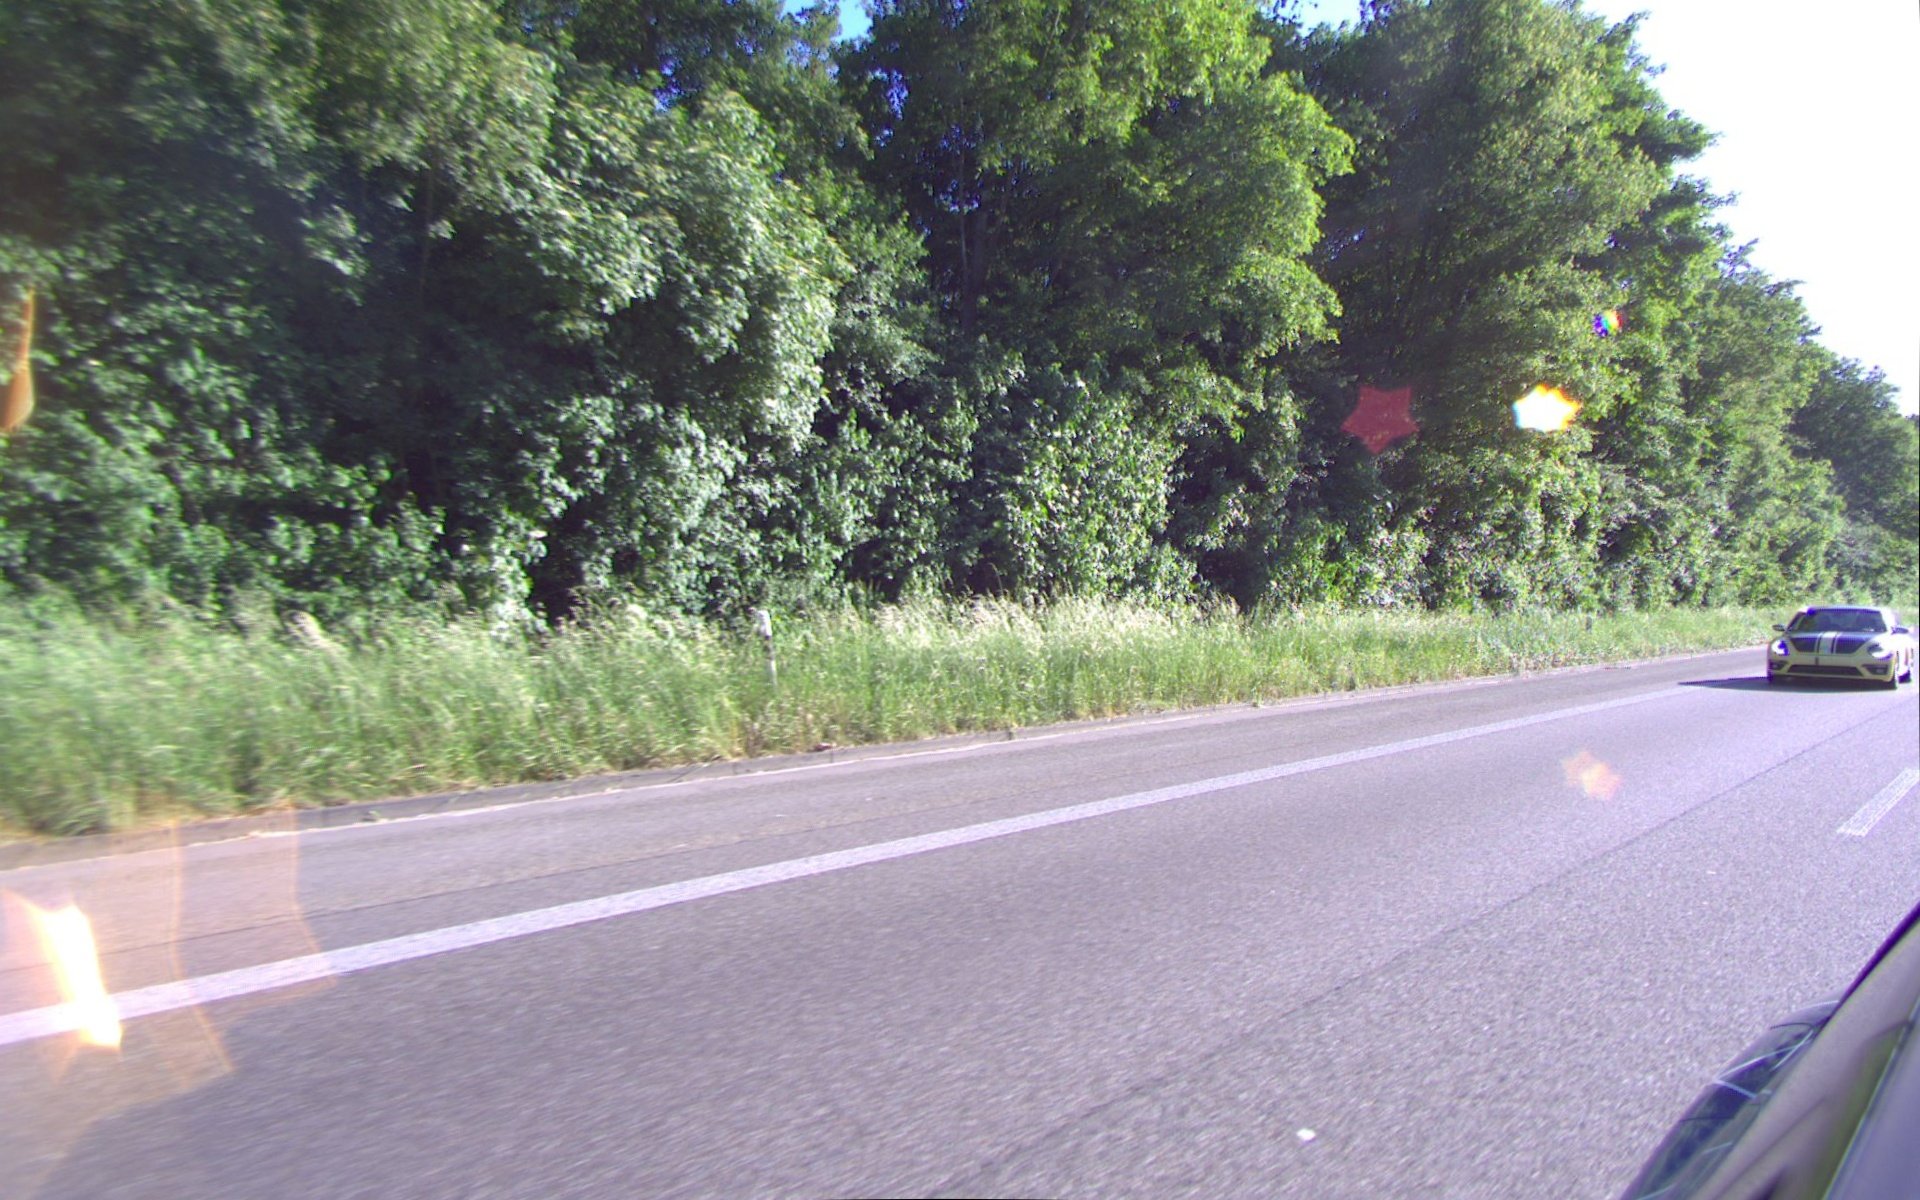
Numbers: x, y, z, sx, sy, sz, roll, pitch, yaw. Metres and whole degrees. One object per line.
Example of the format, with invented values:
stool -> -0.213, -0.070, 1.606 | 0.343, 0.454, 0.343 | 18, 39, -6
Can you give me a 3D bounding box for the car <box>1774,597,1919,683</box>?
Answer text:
car -> 16.904, 0.676, 19.125 | 3.811, 1.467, 1.792 | 0, 0, -42
